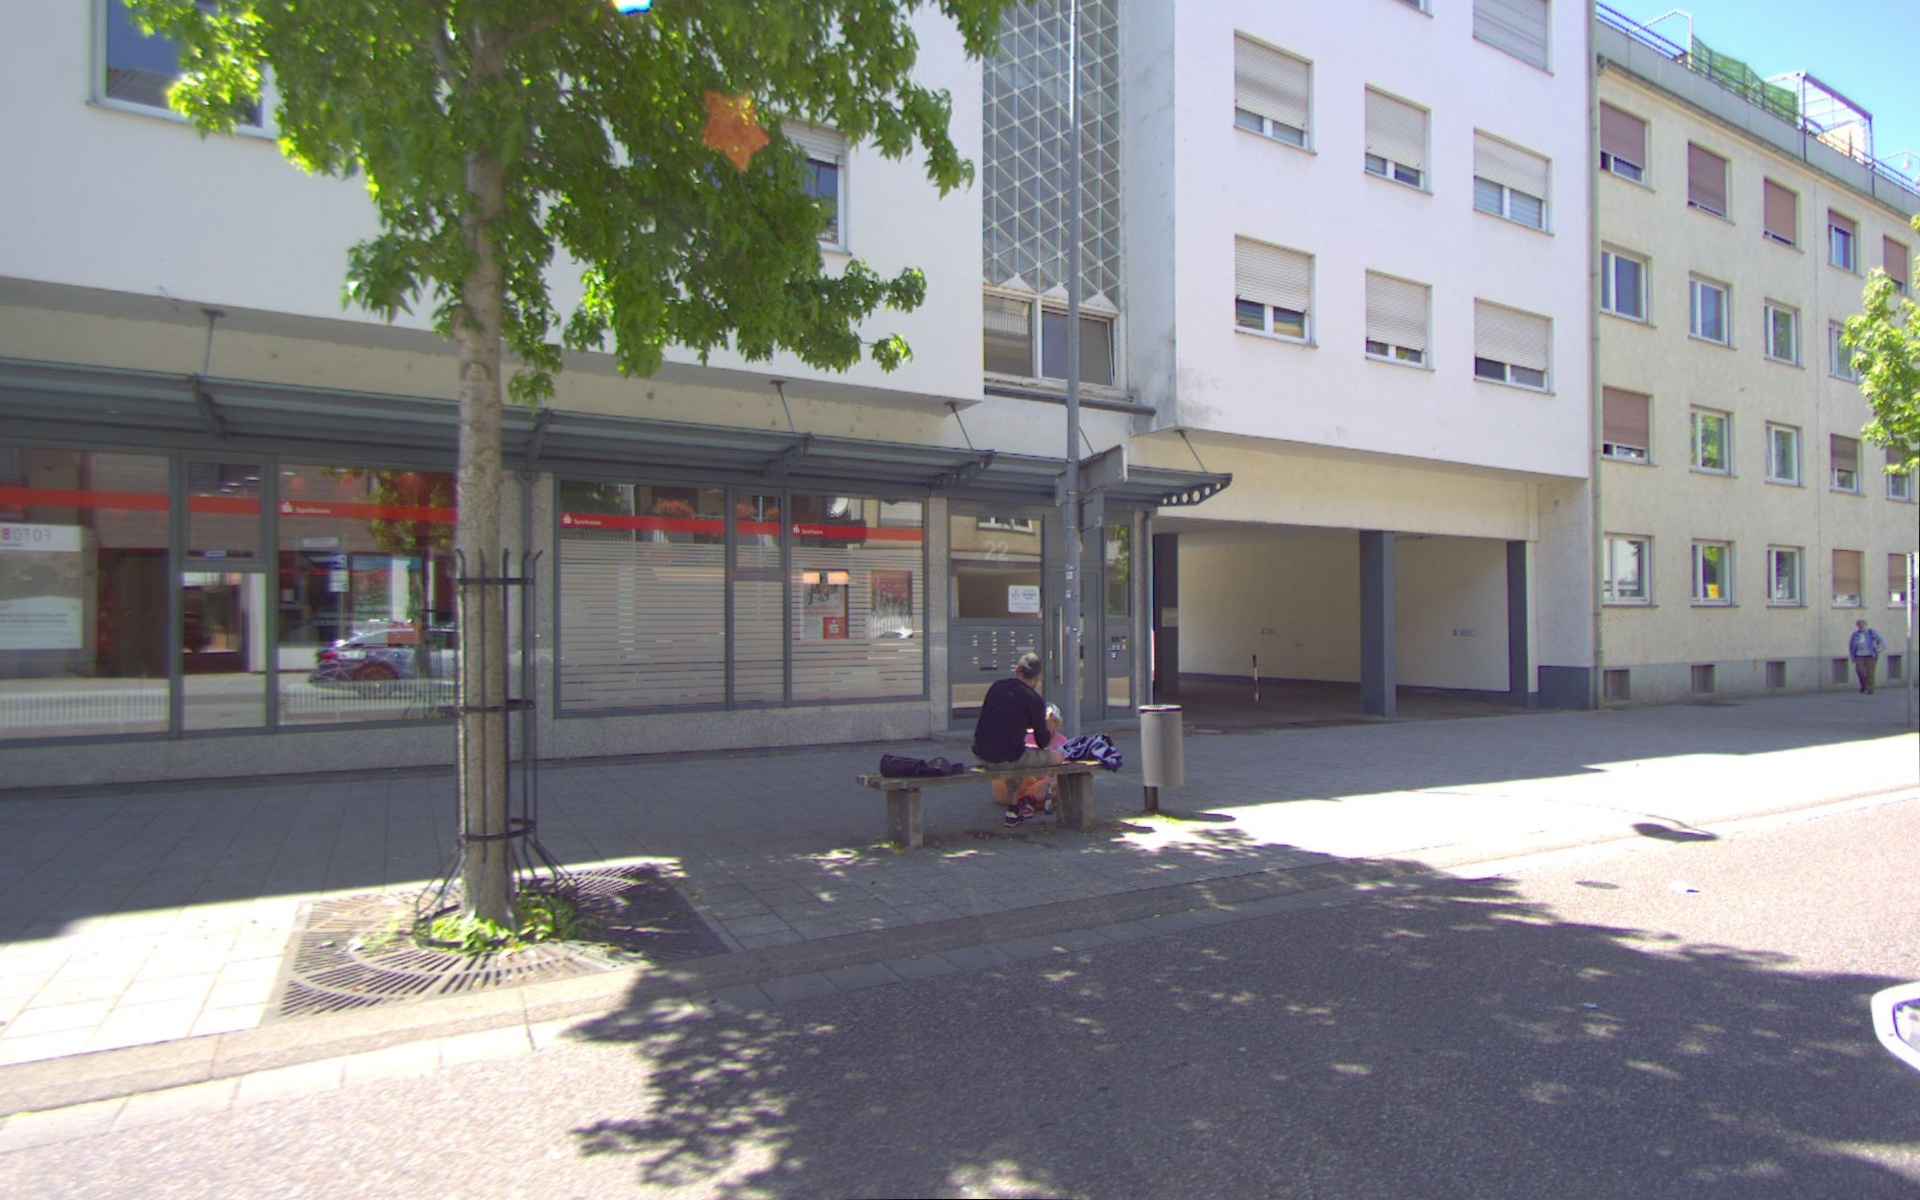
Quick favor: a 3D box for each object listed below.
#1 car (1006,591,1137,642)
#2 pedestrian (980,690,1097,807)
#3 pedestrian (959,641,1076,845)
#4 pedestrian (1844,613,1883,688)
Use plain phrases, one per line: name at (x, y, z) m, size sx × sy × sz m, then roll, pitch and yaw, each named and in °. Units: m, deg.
car at (3.589, 0.543, 32.136) m, size 3.866 × 1.518 × 1.820 m, roll 1°, pitch -1°, yaw -29°
pedestrian at (0.650, 1.238, 8.447) m, size 0.722 × 0.869 × 0.664 m, roll 5°, pitch -2°, yaw -20°
pedestrian at (0.410, 1.005, 7.313) m, size 0.657 × 1.390 × 0.567 m, roll 2°, pitch -1°, yaw -20°
pedestrian at (21.217, 1.169, 23.592) m, size 0.649 × 1.703 × 0.628 m, roll -2°, pitch 0°, yaw 43°
